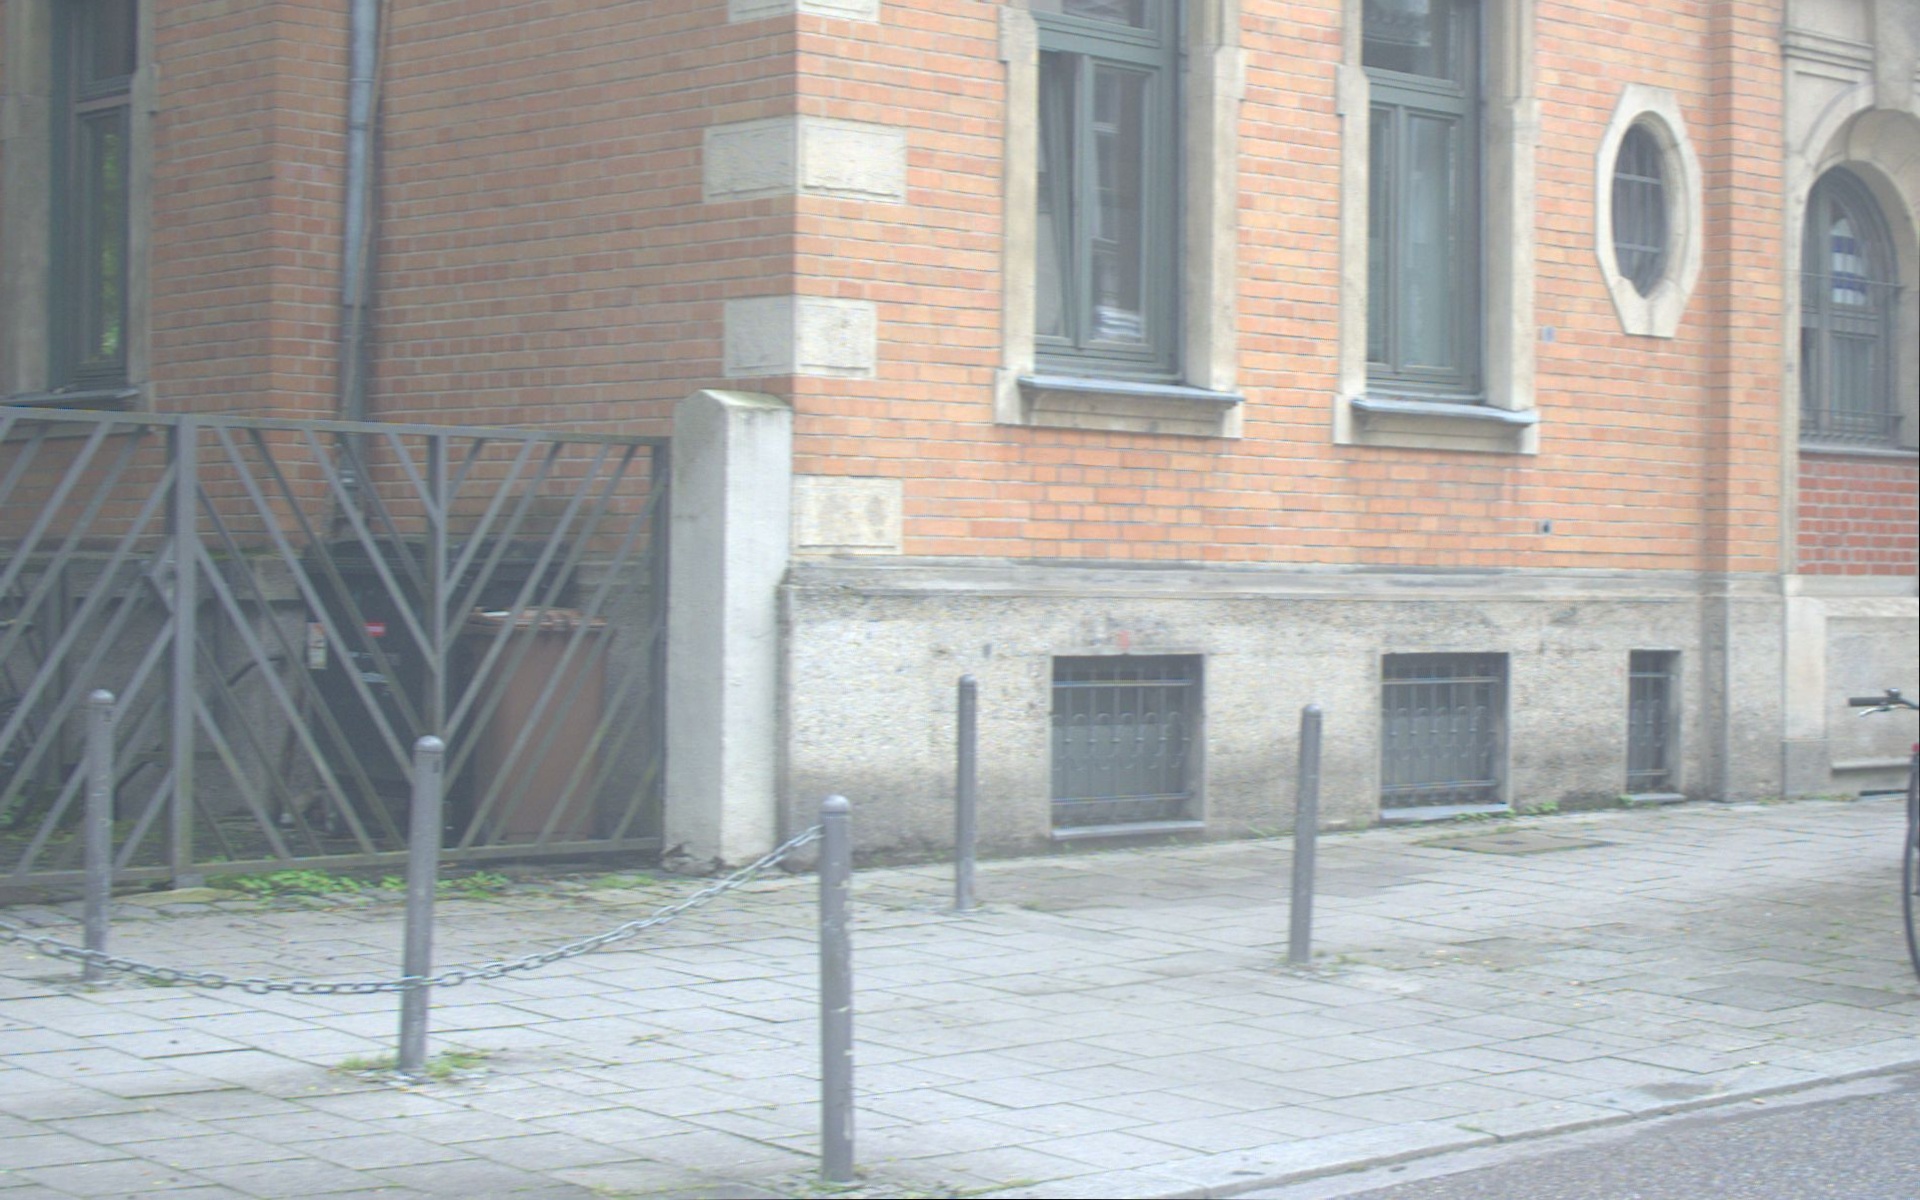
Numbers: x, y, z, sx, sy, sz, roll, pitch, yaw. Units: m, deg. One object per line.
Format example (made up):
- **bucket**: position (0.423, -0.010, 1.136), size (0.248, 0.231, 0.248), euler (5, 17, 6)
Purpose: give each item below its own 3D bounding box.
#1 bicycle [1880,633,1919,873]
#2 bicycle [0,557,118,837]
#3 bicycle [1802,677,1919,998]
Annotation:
- **bicycle**: position (5.024, 0.688, 15.665), size (1.889, 1.050, 0.581), euler (1, 1, -39)
- **bicycle**: position (-4.662, 0.415, 15.883), size (0.534, 1.215, 2.082), euler (1, 0, -43)
- **bicycle**: position (3.758, 0.802, 12.124), size (1.757, 1.050, 0.581), euler (1, 0, -39)
